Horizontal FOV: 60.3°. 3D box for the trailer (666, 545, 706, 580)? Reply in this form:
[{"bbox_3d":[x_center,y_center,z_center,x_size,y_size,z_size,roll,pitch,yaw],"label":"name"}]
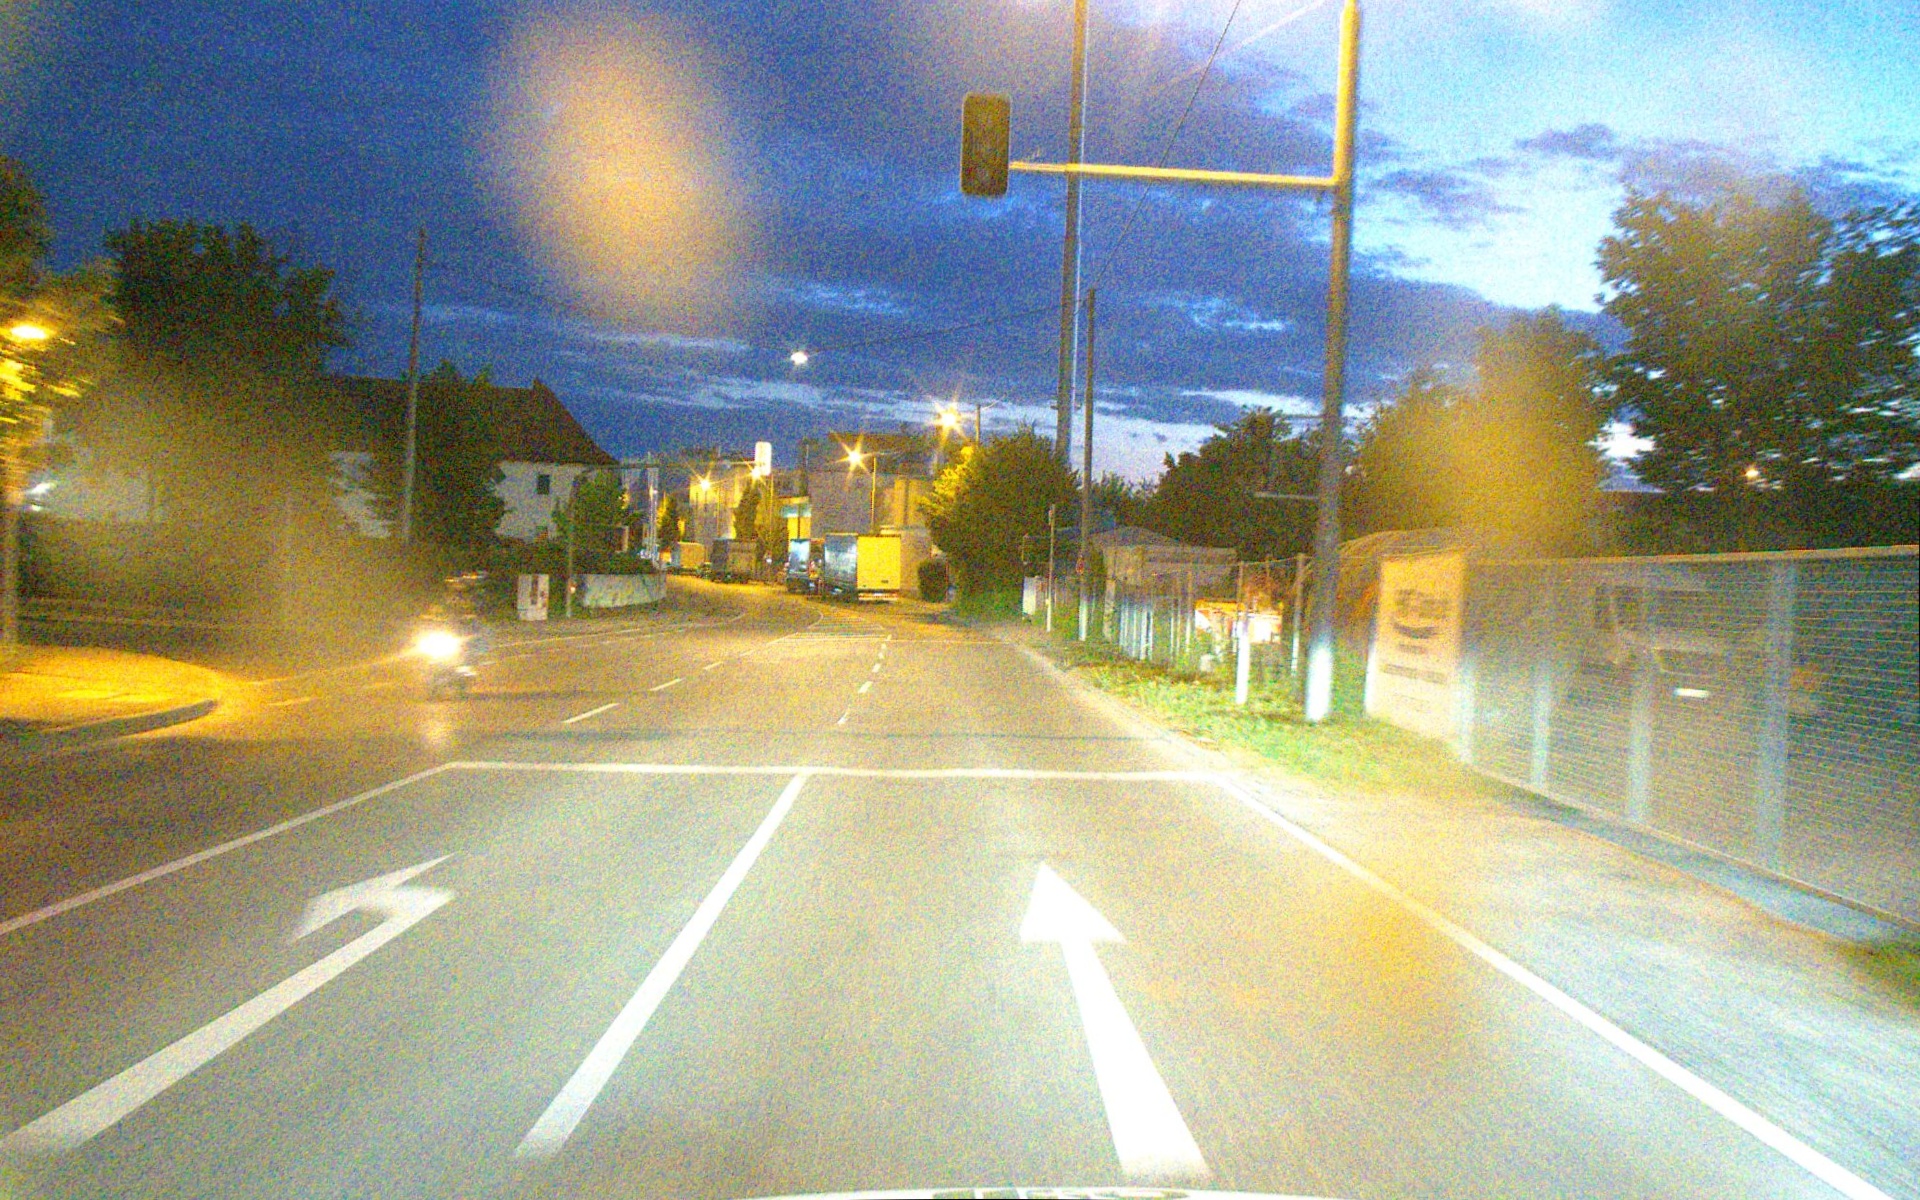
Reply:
[{"bbox_3d":[-29.469,-4.015,177.572,2.647,3.524,7.763,2,1,-20],"label":"trailer"}]

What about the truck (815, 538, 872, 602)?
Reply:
[{"bbox_3d":[-7.670,-1.985,108.410,2.782,4.052,6.030,0,1,-13],"label":"truck"}]

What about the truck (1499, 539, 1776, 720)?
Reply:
[{"bbox_3d":[12.016,0.450,30.102,2.138,2.796,7.317,3,0,2],"label":"truck"}]

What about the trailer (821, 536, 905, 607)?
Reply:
[{"bbox_3d":[-6.138,-1.810,101.951,2.760,4.052,13.928,0,1,-13],"label":"trailer"}]

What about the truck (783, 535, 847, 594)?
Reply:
[{"bbox_3d":[-10.506,-2.543,118.699,2.783,4.052,10.301,0,1,-15],"label":"truck"}]

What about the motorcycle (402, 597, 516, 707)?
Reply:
[{"bbox_3d":[-6.641,0.647,22.092,0.978,1.327,2.822,2,0,-8],"label":"motorcycle"}]

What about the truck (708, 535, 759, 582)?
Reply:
[{"bbox_3d":[-20.696,-3.758,150.798,3.461,4.052,10.305,0,1,-14],"label":"truck"}]

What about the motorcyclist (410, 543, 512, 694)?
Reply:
[{"bbox_3d":[-6.614,0.242,21.961,1.113,1.933,0.832,2,0,-8],"label":"motorcyclist"}]

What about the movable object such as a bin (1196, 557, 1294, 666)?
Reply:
[{"bbox_3d":[6.596,0.252,38.380,1.650,2.424,1.611,3,0,-13],"label":"movable object such as a bin"}]

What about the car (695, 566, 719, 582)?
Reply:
[{"bbox_3d":[-25.332,-2.582,165.460,1.823,1.545,3.800,0,1,-17],"label":"car"}]

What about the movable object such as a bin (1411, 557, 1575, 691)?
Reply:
[{"bbox_3d":[11.983,0.495,37.468,2.183,2.772,3.863,3,0,-4],"label":"movable object such as a bin"}]

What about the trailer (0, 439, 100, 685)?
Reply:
[{"bbox_3d":[-12.808,-0.470,19.489,4.261,2.767,1.999,1,1,-3],"label":"trailer"}]

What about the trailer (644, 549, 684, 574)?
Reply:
[{"bbox_3d":[-34.588,-4.466,192.980,3.135,2.796,10.662,0,1,-18],"label":"trailer"}]
